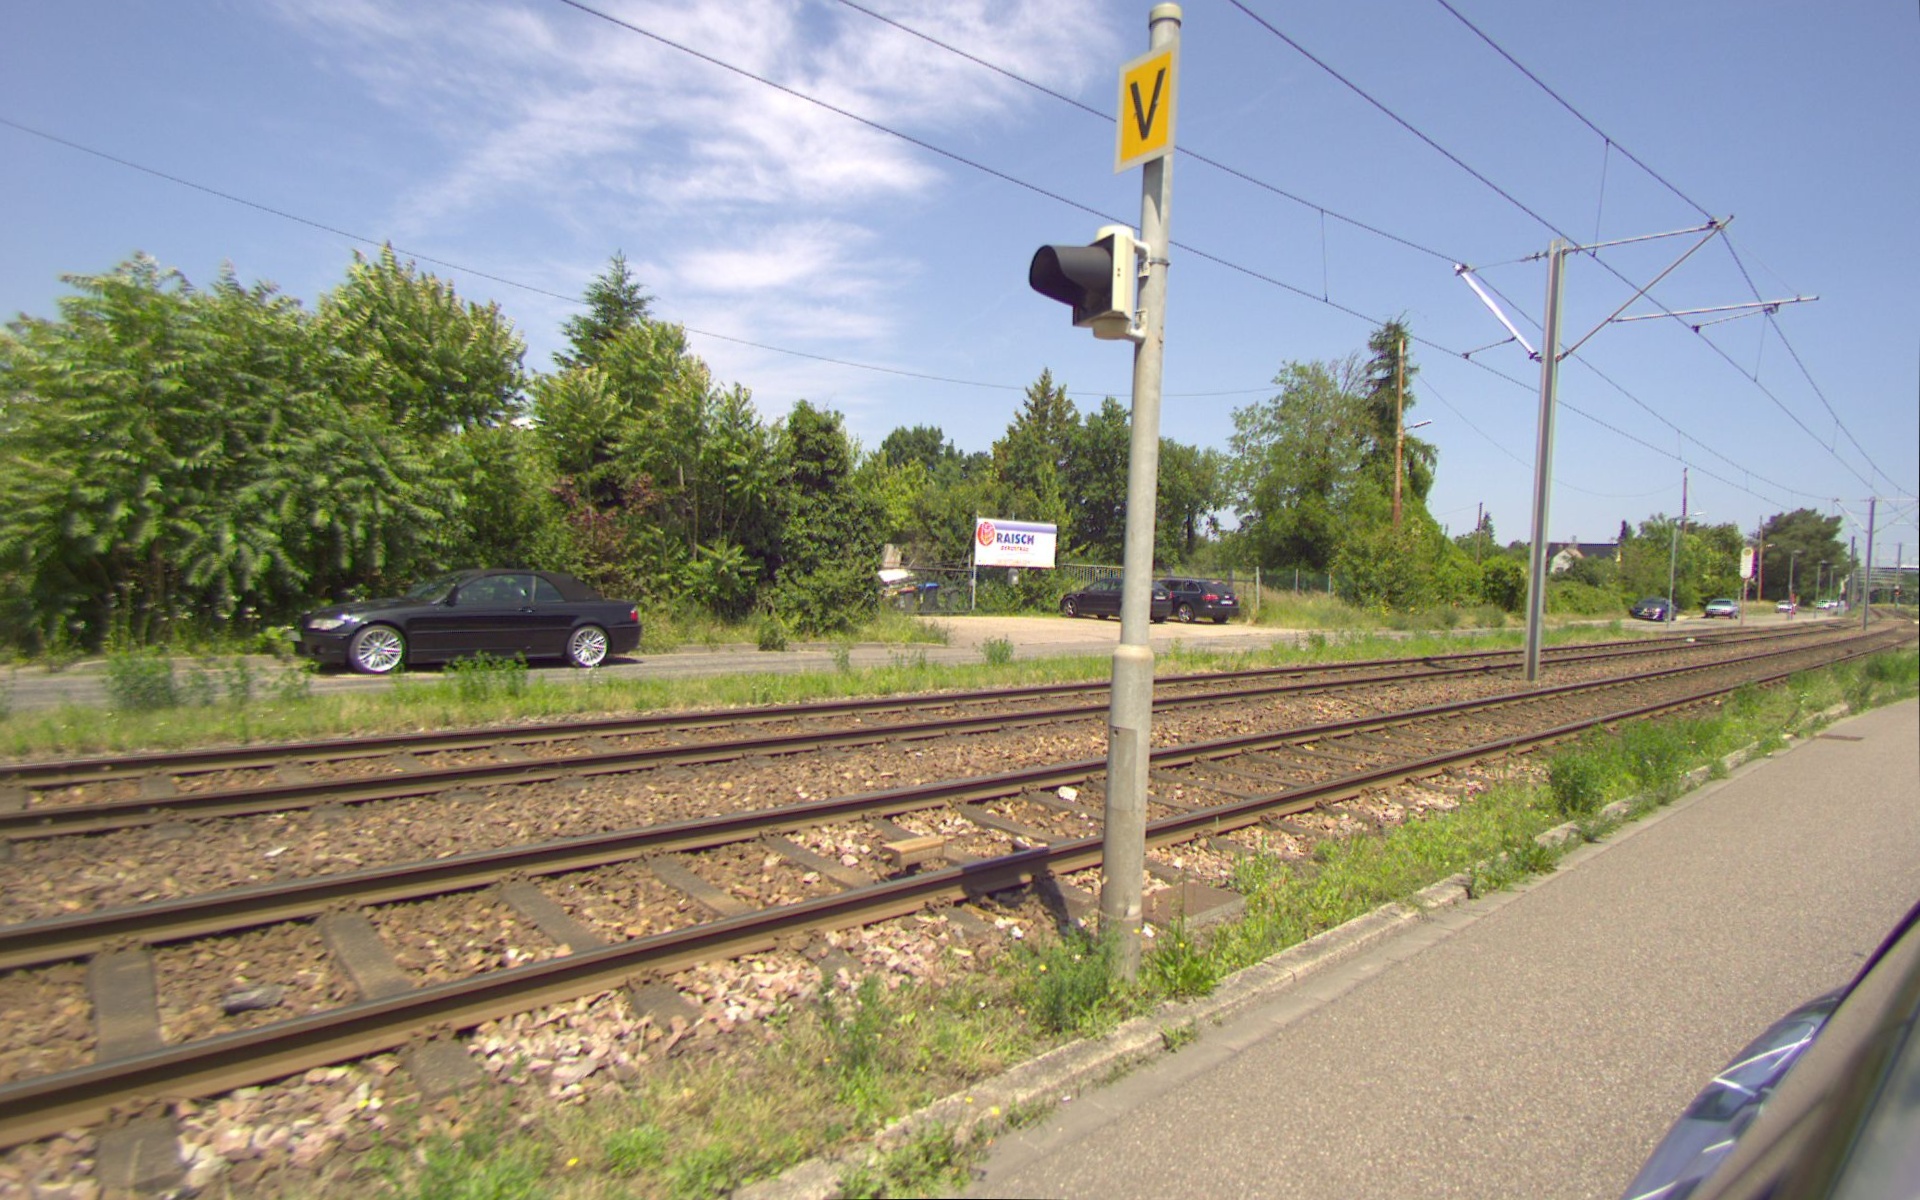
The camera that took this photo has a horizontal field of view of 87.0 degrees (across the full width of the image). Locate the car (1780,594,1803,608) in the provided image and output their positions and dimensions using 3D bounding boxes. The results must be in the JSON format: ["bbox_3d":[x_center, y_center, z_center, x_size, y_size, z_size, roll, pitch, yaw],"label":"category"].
[{"bbox_3d":[93.901,0.101,114.298,1.713,1.507,3.938,2,2,44],"label":"car"}]

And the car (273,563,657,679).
[{"bbox_3d":[-6.693,0.217,14.000,4.439,1.346,1.863,0,2,-43],"label":"car"}]

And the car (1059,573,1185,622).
[{"bbox_3d":[5.209,-0.125,32.883,1.866,1.436,3.735,0,2,-41],"label":"car"}]

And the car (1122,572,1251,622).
[{"bbox_3d":[7.553,-0.134,34.033,1.863,1.536,4.000,0,2,-36],"label":"car"}]

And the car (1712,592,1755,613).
[{"bbox_3d":[56.264,0.158,73.587,3.935,1.439,1.940,0,2,-45],"label":"car"}]

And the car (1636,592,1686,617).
[{"bbox_3d":[42.691,0.272,61.579,4.792,1.439,1.621,0,2,-44],"label":"car"}]
